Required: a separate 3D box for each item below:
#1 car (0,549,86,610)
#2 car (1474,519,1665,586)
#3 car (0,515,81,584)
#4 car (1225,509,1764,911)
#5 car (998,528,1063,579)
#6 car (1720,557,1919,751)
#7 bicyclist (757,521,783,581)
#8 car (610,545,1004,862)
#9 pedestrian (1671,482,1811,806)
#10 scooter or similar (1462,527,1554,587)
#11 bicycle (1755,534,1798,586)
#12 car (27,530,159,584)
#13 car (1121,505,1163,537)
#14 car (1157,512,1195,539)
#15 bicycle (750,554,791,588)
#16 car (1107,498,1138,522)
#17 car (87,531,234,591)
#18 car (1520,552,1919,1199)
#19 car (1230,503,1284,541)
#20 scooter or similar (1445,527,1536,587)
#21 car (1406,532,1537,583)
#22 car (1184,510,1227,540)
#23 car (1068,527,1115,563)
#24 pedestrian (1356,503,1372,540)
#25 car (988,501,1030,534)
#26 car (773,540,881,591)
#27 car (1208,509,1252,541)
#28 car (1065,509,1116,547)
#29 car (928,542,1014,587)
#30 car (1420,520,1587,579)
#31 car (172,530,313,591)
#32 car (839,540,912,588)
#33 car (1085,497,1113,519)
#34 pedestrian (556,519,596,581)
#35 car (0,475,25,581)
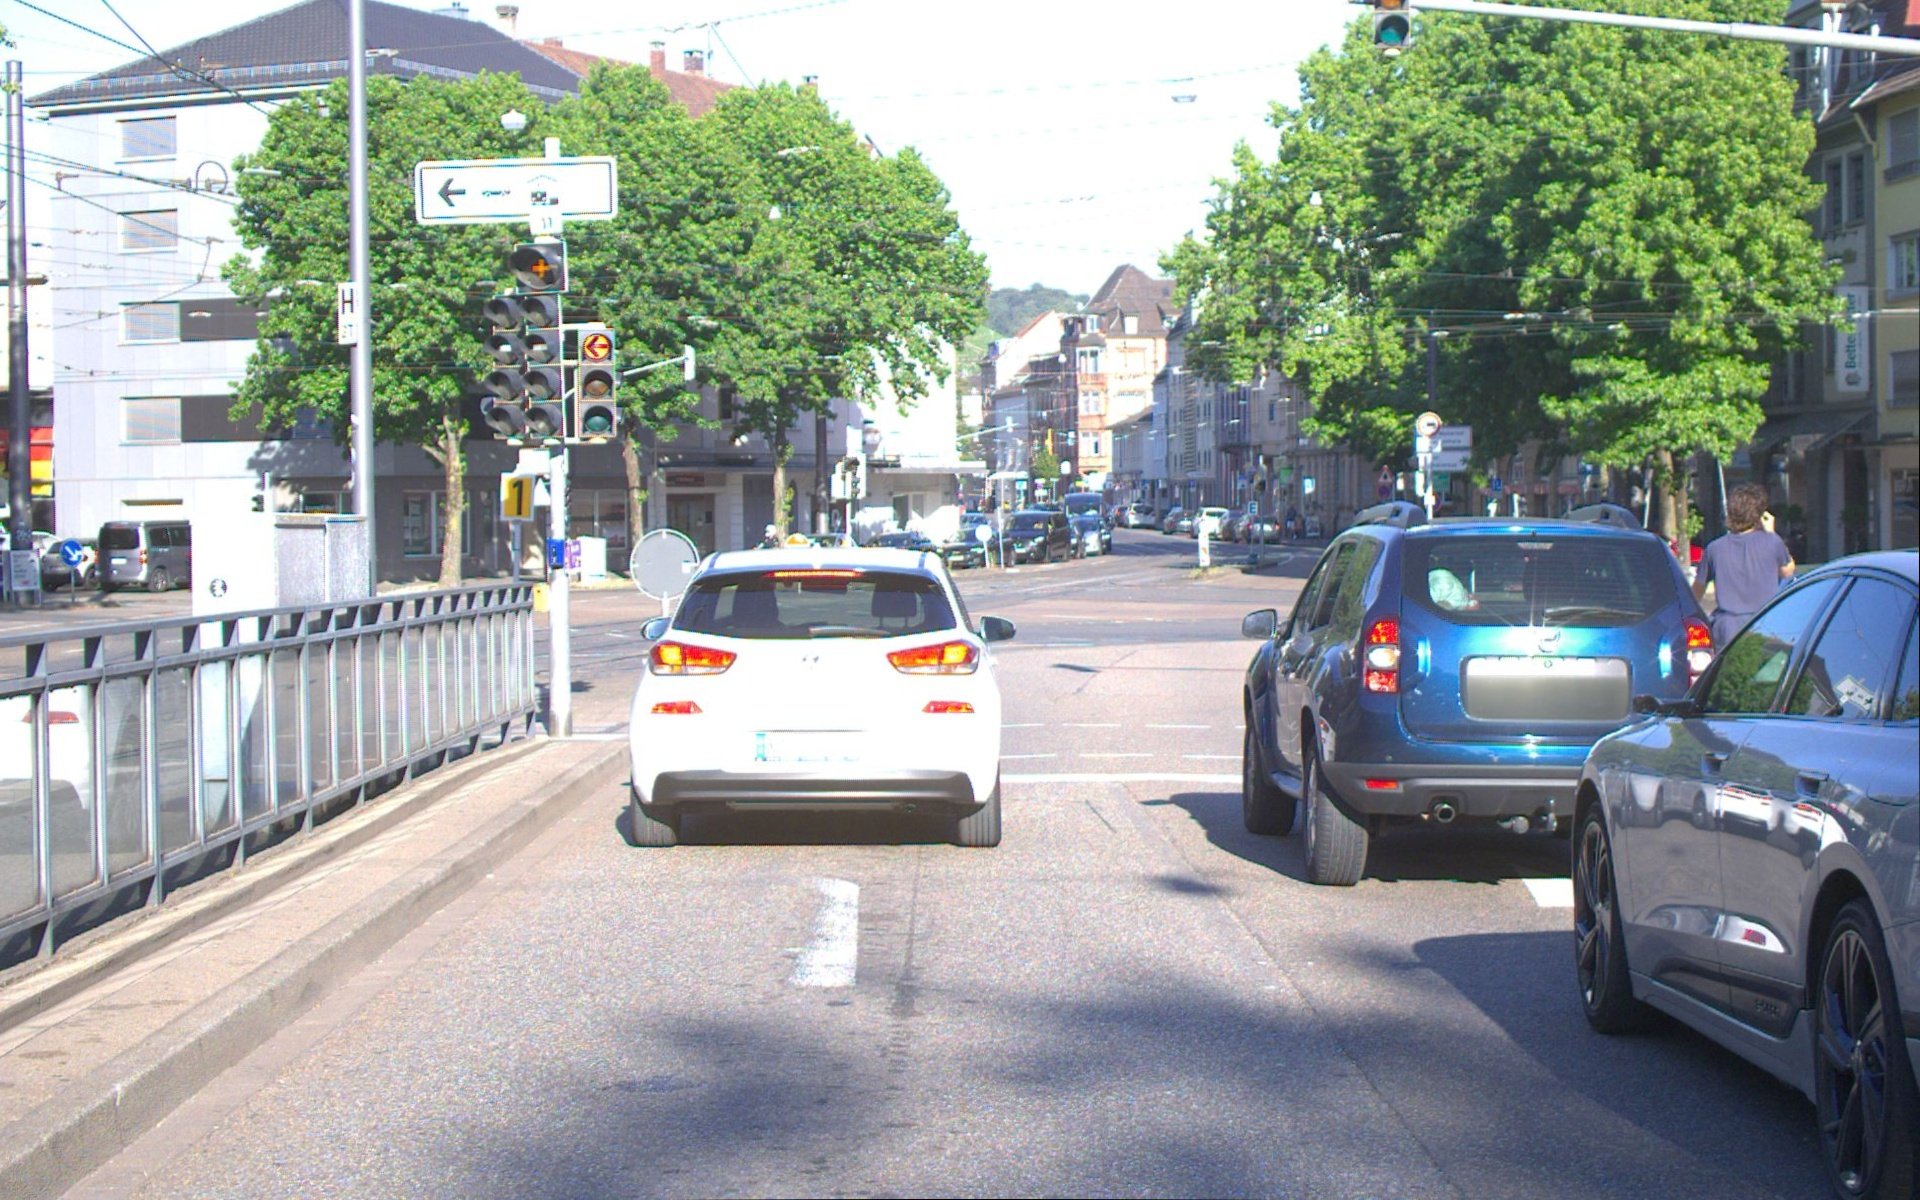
[{"bbox_3d":[-24.080,-0.528,85.939,3.991,1.505,1.798,0,1,21],"label":"car"},{"bbox_3d":[14.133,-1.111,79.817,3.986,1.505,1.801,-1,1,-9],"label":"car"},{"bbox_3d":[-27.293,-1.457,99.313,1.796,1.949,3.997,0,1,18],"label":"car"},{"bbox_3d":[2.330,0.406,15.998,1.800,1.632,4.045,0,1,-1],"label":"car"},{"bbox_3d":[2.608,-1.721,126.047,1.795,1.820,3.999,0,1,10],"label":"car"},{"bbox_3d":[7.310,0.385,28.109,1.801,1.434,4.042,1,1,17],"label":"car"},{"bbox_3d":[-5.533,-1.422,100.188,0.468,1.739,0.716,0,1,23],"label":"bicyclist"},{"bbox_3d":[-0.743,0.448,17.850,1.808,1.447,4.000,0,1,-1],"label":"car"},{"bbox_3d":[4.573,0.247,20.160,0.657,1.864,0.678,0,1,-1],"label":"pedestrian"},{"bbox_3d":[11.838,-0.923,74.300,1.949,1.276,0.552,1,1,41],"label":"scooter or similar"},{"bbox_3d":[17.526,-0.870,73.853,0.609,1.104,1.800,0,1,4],"label":"bicycle"},{"bbox_3d":[-24.781,-1.252,98.417,1.796,1.505,4.007,0,1,18],"label":"car"},{"bbox_3d":[11.607,-5.058,219.214,2.327,2.007,4.977,0,1,-1],"label":"car"},{"bbox_3d":[12.193,-4.212,194.202,1.794,1.517,4.000,0,1,-1],"label":"car"},{"bbox_3d":[-5.531,-0.856,100.195,0.468,0.953,1.765,0,1,23],"label":"bicycle"},{"bbox_3d":[10.591,-5.888,224.669,1.794,1.505,4.000,0,1,-1],"label":"car"},{"bbox_3d":[-22.394,-1.108,96.403,1.797,1.643,4.004,0,1,29],"label":"car"},{"bbox_3d":[2.824,0.628,8.829,1.929,1.467,4.855,0,1,-1],"label":"car"},{"bbox_3d":[14.011,-3.692,162.278,2.105,1.770,4.342,0,1,-1],"label":"car"},{"bbox_3d":[11.378,-0.925,73.750,1.949,1.276,0.552,1,1,41],"label":"scooter or similar"},{"bbox_3d":[15.558,-1.298,104.503,3.989,1.505,1.799,-1,1,-42],"label":"car"},{"bbox_3d":[12.486,-3.818,174.967,1.794,1.505,4.000,0,1,-1],"label":"car"},{"bbox_3d":[5.672,-2.387,148.656,1.794,1.505,4.000,0,1,-2],"label":"car"},{"bbox_3d":[18.072,-3.496,153.726,0.648,1.645,0.650,1,0,10],"label":"pedestrian"},{"bbox_3d":[2.330,-3.914,163.549,1.794,1.505,4.000,0,1,-2],"label":"car"},{"bbox_3d":[-4.034,-1.062,104.566,1.726,1.505,3.871,0,1,24],"label":"car"},{"bbox_3d":[13.236,-3.683,168.807,1.794,1.505,4.000,0,1,-1],"label":"car"},{"bbox_3d":[5.328,-2.955,140.648,1.794,1.505,4.000,0,1,-2],"label":"car"},{"bbox_3d":[0.402,-1.229,118.618,1.796,1.505,3.996,0,0,18],"label":"car"},{"bbox_3d":[14.266,-1.322,90.288,3.986,1.505,1.800,0,1,-6],"label":"car"},{"bbox_3d":[-19.930,-1.120,95.697,1.923,1.643,4.176,0,1,20],"label":"car"},{"bbox_3d":[-2.698,-1.163,110.525,1.794,1.505,3.999,0,0,6],"label":"car"},{"bbox_3d":[9.870,-6.562,244.491,1.794,1.505,4.000,0,1,-1],"label":"car"},{"bbox_3d":[-10.896,-1.422,97.619,0.837,1.765,0.781,0,1,25],"label":"pedestrian"},{"bbox_3d":[-30.365,-2.085,100.267,2.499,3.154,6.528,0,1,22],"label":"car"}]
